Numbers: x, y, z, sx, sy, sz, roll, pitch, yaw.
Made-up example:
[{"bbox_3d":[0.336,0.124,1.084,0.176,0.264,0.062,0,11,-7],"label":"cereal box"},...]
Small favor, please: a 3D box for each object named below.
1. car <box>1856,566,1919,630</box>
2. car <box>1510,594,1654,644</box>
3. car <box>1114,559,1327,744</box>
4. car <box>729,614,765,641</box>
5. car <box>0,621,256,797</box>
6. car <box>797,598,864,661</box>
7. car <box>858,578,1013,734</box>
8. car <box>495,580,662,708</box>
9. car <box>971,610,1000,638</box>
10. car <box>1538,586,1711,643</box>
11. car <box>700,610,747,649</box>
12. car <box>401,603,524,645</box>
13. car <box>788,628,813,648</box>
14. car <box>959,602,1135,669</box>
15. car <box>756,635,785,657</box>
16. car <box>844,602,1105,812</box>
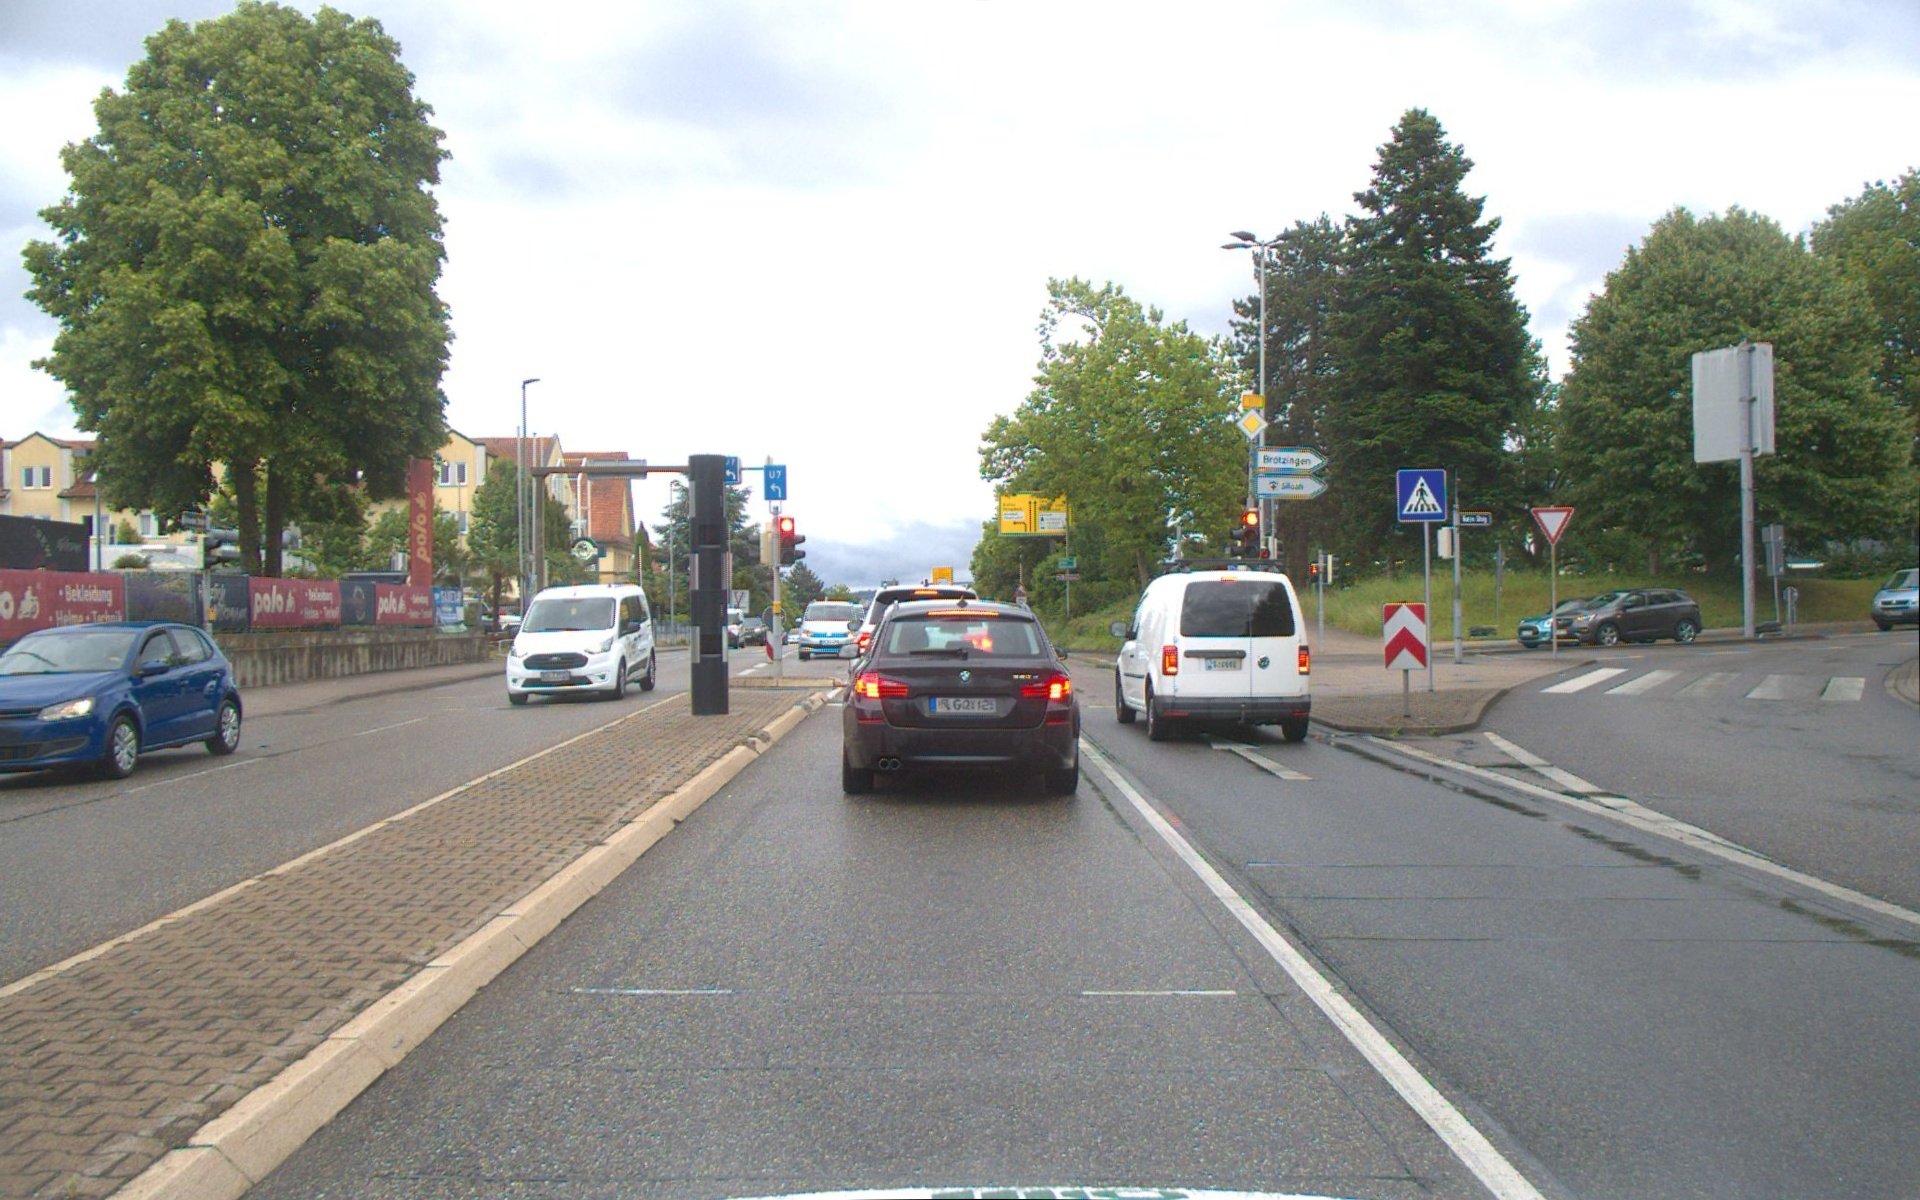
[{"bbox_3d":[30.280,-0.112,51.558,4.672,1.883,1.884,-1,2,-28],"label":"car"},{"bbox_3d":[18.735,0.559,49.835,3.927,1.316,1.600,-2,1,-19],"label":"car"},{"bbox_3d":[2.876,0.547,19.035,1.706,1.902,3.944,1,0,-2],"label":"car"},{"bbox_3d":[-12.007,1.532,93.310,1.634,1.377,3.441,-1,0,-1],"label":"car"},{"bbox_3d":[-8.463,0.982,16.171,1.601,1.406,3.764,-2,1,-2],"label":"car"},{"bbox_3d":[-3.702,0.824,47.840,1.699,1.721,3.999,-1,0,-1],"label":"car"},{"bbox_3d":[-0.222,0.619,20.313,1.692,1.741,3.383,0,0,3],"label":"car"},{"bbox_3d":[-6.223,0.681,27.484,1.820,1.855,4.577,-3,0,-2],"label":"car"},{"bbox_3d":[1.448,1.359,93.944,1.567,1.395,3.681,-1,1,1],"label":"car"},{"bbox_3d":[18.732,0.392,46.655,4.246,1.492,1.893,-1,0,-16],"label":"car"},{"bbox_3d":[-10.803,1.320,75.709,1.634,1.699,3.682,-1,0,-1],"label":"car"},{"bbox_3d":[-18.649,0.878,61.987,4.146,1.481,1.784,-1,0,-29],"label":"car"},{"bbox_3d":[-12.424,2.945,128.795,1.634,1.377,3.441,-1,0,-1],"label":"car"},{"bbox_3d":[2.047,0.822,38.717,3.998,1.481,1.902,-1,0,3],"label":"car"},{"bbox_3d":[-12.777,3.081,111.719,1.634,1.377,3.441,-1,0,-1],"label":"car"},{"bbox_3d":[0.164,0.749,13.568,1.816,1.444,3.957,1,0,2],"label":"car"}]
